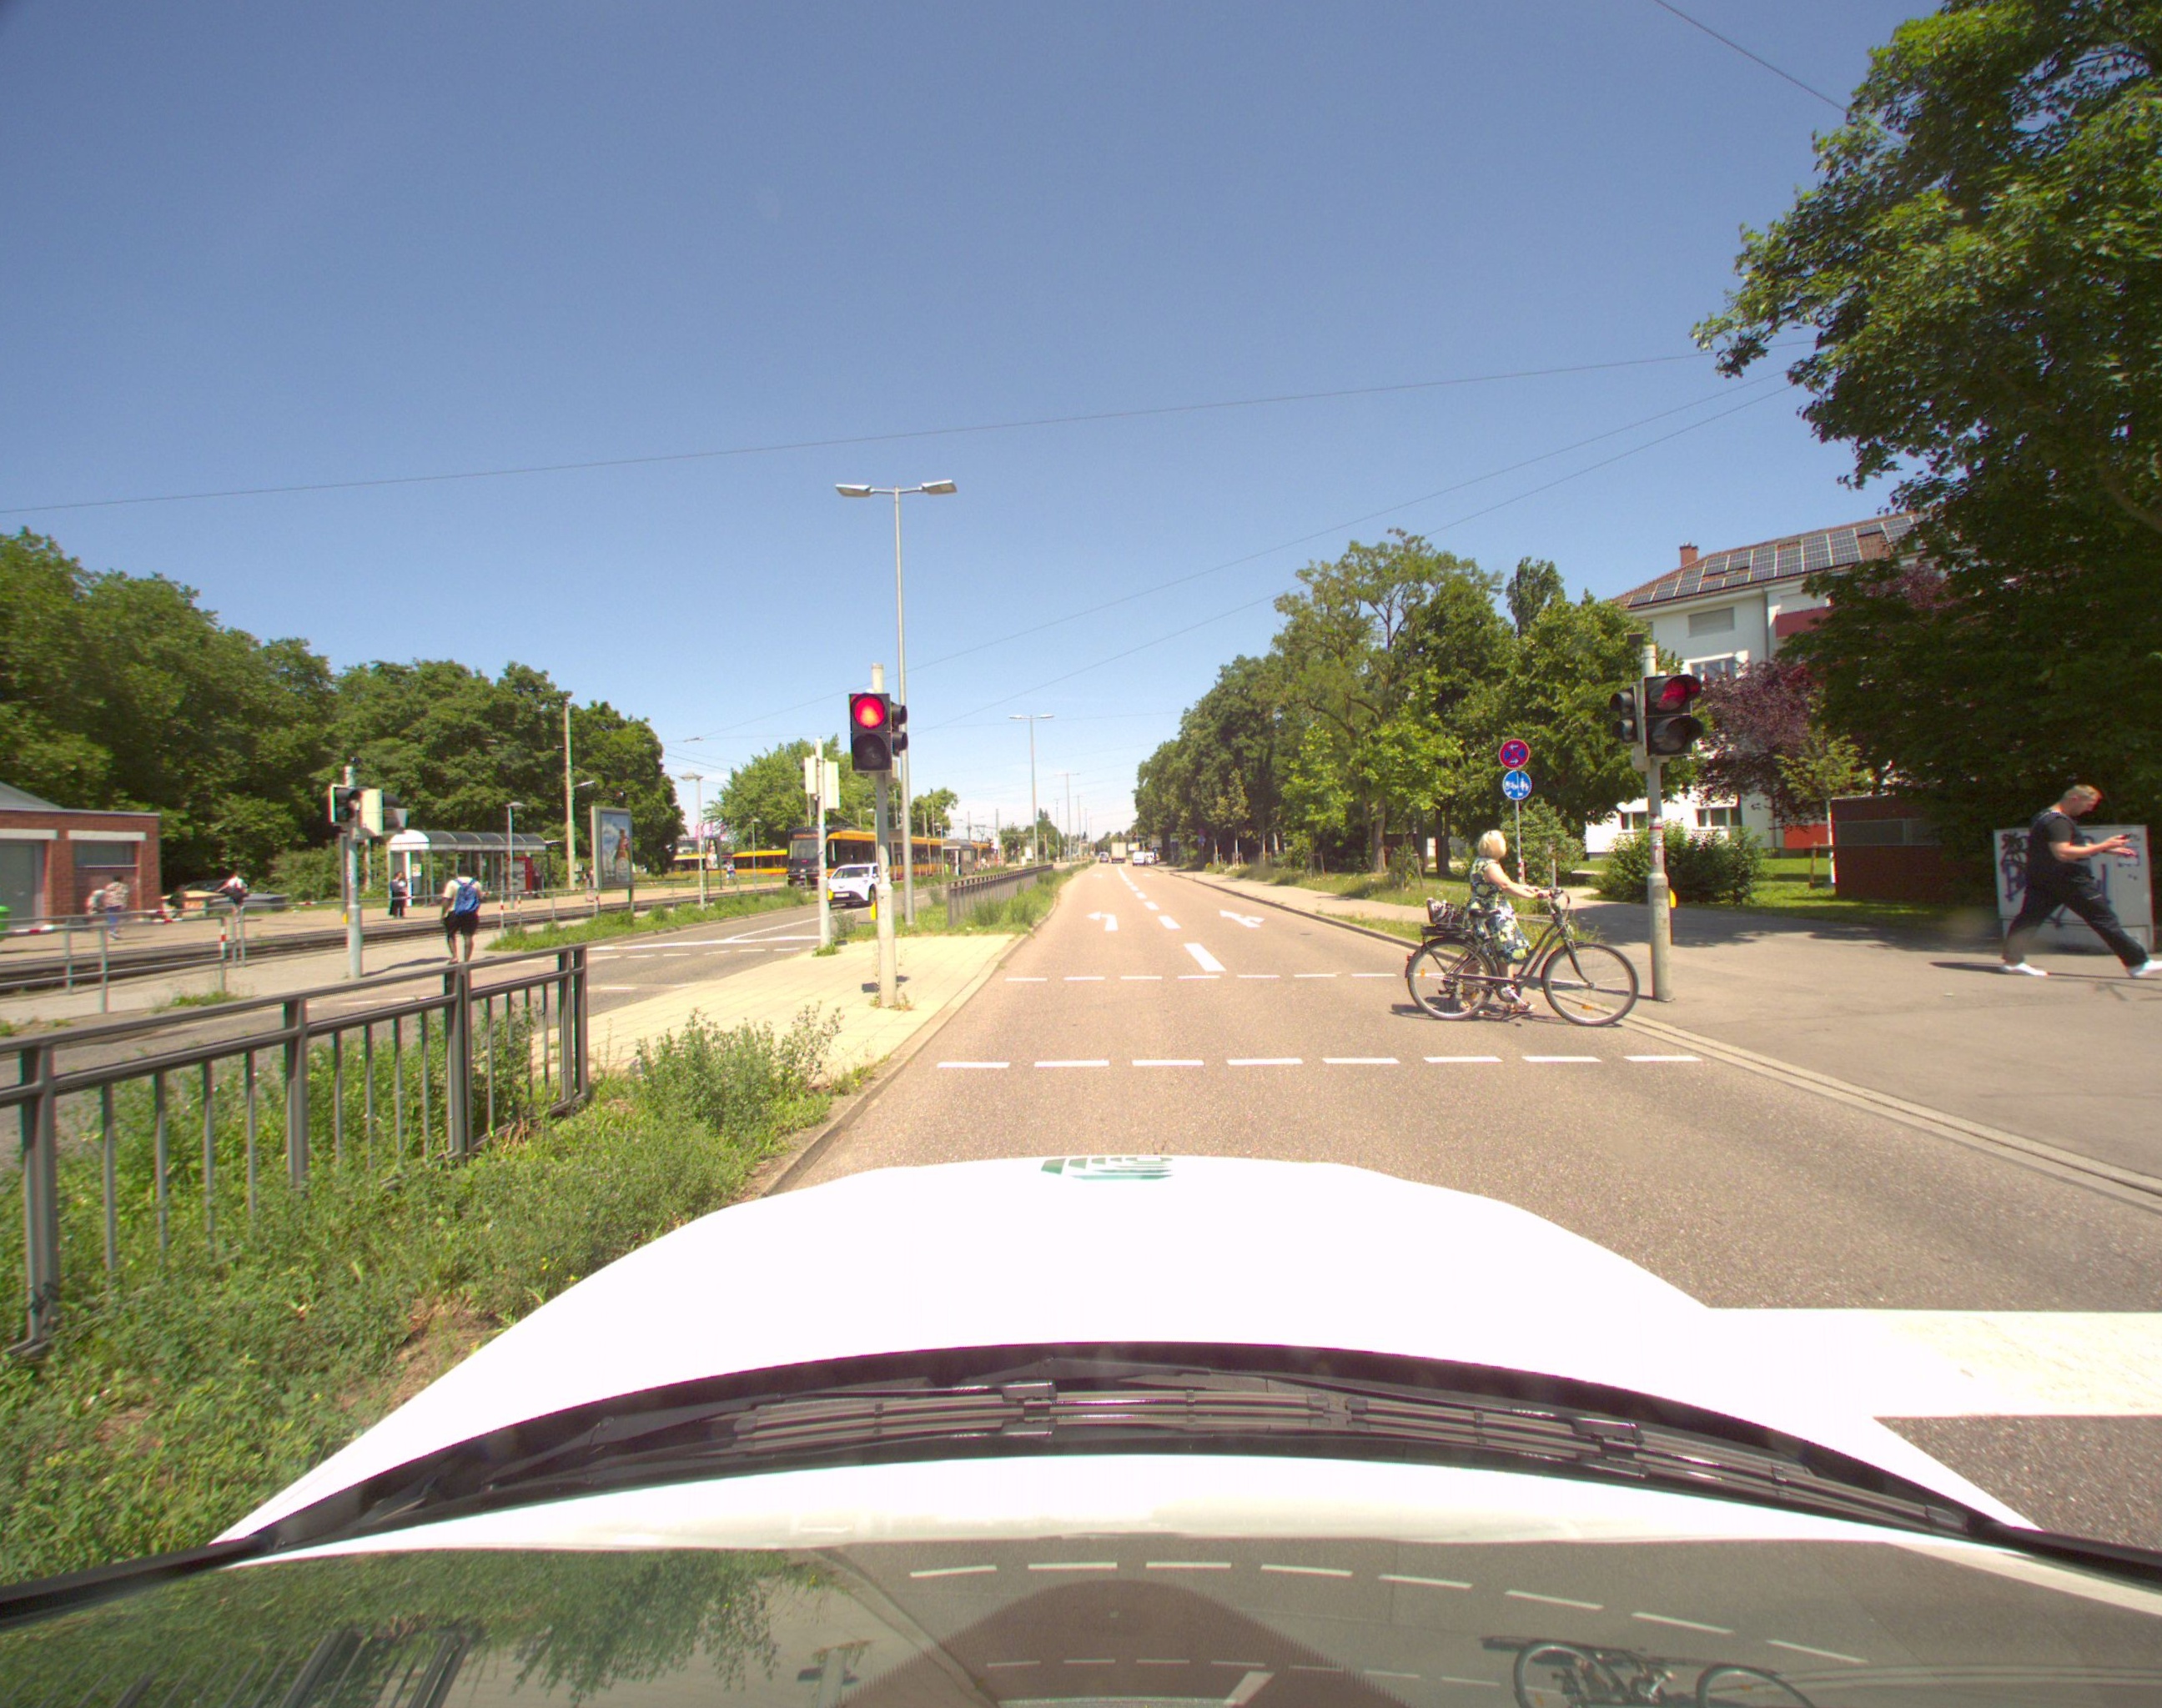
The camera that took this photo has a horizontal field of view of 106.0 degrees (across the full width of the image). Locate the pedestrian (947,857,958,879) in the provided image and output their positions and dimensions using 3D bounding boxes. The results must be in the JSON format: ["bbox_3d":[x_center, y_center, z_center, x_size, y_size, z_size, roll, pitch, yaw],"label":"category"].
[{"bbox_3d":[-10.985,1.199,69.732,0.783,1.868,0.818,-2,0,1],"label":"pedestrian"}]

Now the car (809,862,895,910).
[{"bbox_3d":[-8.056,1.076,28.987,1.838,1.494,3.793,-2,0,2],"label":"car"}]

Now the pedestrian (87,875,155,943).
[{"bbox_3d":[-23.545,1.329,19.987,0.669,1.590,0.808,-2,0,1],"label":"pedestrian"}]

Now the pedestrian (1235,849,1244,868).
[{"bbox_3d":[12.380,0.329,63.673,0.600,1.438,0.557,-2,0,8],"label":"pedestrian"}]

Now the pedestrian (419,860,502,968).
[{"bbox_3d":[-10.661,1.005,14.010,0.837,1.777,0.720,0,2,1],"label":"pedestrian"}]

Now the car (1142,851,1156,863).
[{"bbox_3d":[9.900,0.459,118.766,1.773,1.668,4.002,-2,0,2],"label":"car"}]

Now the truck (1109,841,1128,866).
[{"bbox_3d":[6.768,-0.083,146.197,3.193,4.359,6.563,-2,0,2],"label":"truck"}]

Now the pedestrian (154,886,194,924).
[{"bbox_3d":[-27.882,1.551,25.039,0.634,1.124,0.572,-2,0,16],"label":"pedestrian"}]

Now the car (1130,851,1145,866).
[{"bbox_3d":[7.290,0.561,105.543,1.773,1.903,4.002,-2,0,2],"label":"car"}]

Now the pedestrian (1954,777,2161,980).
[{"bbox_3d":[9.312,0.234,7.661,1.174,1.778,0.845,-4,-2,25],"label":"pedestrian"}]

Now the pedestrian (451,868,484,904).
[{"bbox_3d":[-26.287,1.370,34.899,0.836,1.511,0.723,-2,0,12],"label":"pedestrian"}]

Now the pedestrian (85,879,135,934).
[{"bbox_3d":[-26.683,1.436,22.386,0.636,1.480,0.570,-2,0,1],"label":"pedestrian"}]

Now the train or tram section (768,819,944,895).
[{"bbox_3d":[-13.872,0.159,56.073,2.947,3.749,30.041,-2,0,2],"label":"train or tram section"}]

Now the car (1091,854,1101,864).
[{"bbox_3d":[3.317,1.094,175.336,1.986,2.013,4.002,-2,0,2],"label":"car"}]

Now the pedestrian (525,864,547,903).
[{"bbox_3d":[-25.980,1.389,38.813,0.725,1.800,0.835,-1,-1,-41],"label":"pedestrian"}]

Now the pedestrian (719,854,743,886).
[{"bbox_3d":[-22.576,1.002,52.550,0.977,2.013,1.021,-2,0,1],"label":"pedestrian"}]

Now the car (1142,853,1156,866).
[{"bbox_3d":[9.379,0.717,112.425,1.773,1.668,4.002,-2,0,2],"label":"car"}]

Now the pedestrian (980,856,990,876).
[{"bbox_3d":[-9.916,1.238,84.070,0.812,2.013,0.939,-2,0,1],"label":"pedestrian"}]

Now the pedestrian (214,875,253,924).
[{"bbox_3d":[-25.838,1.382,24.836,0.634,1.456,0.585,-2,0,16],"label":"pedestrian"}]

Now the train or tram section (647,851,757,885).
[{"bbox_3d":[-48.475,1.852,103.566,18.260,3.931,3.247,-2,0,32],"label":"train or tram section"}]

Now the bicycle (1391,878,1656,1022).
[{"bbox_3d":[3.799,0.825,7.127,1.944,1.161,0.543,-2,0,11],"label":"bicycle"}]

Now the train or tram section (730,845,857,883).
[{"bbox_3d":[-33.222,1.243,93.290,18.260,3.931,3.247,-2,0,33],"label":"train or tram section"}]

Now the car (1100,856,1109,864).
[{"bbox_3d":[4.546,1.176,158.039,1.804,1.464,4.002,-2,0,2],"label":"car"}]

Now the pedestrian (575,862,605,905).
[{"bbox_3d":[-21.220,1.249,35.187,0.715,1.777,0.843,3,2,1],"label":"pedestrian"}]

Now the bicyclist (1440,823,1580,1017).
[{"bbox_3d":[3.840,0.578,7.356,0.951,1.667,0.582,-2,0,12],"label":"bicyclist"}]

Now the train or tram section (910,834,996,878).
[{"bbox_3d":[-12.909,0.184,87.598,2.920,3.789,33.100,-2,0,2],"label":"train or tram section"}]

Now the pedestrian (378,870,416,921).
[{"bbox_3d":[-21.546,1.289,25.666,0.635,1.555,0.691,-2,0,-11],"label":"pedestrian"}]

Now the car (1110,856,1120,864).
[{"bbox_3d":[6.478,1.143,153.692,1.804,1.464,4.002,-2,0,2],"label":"car"}]
